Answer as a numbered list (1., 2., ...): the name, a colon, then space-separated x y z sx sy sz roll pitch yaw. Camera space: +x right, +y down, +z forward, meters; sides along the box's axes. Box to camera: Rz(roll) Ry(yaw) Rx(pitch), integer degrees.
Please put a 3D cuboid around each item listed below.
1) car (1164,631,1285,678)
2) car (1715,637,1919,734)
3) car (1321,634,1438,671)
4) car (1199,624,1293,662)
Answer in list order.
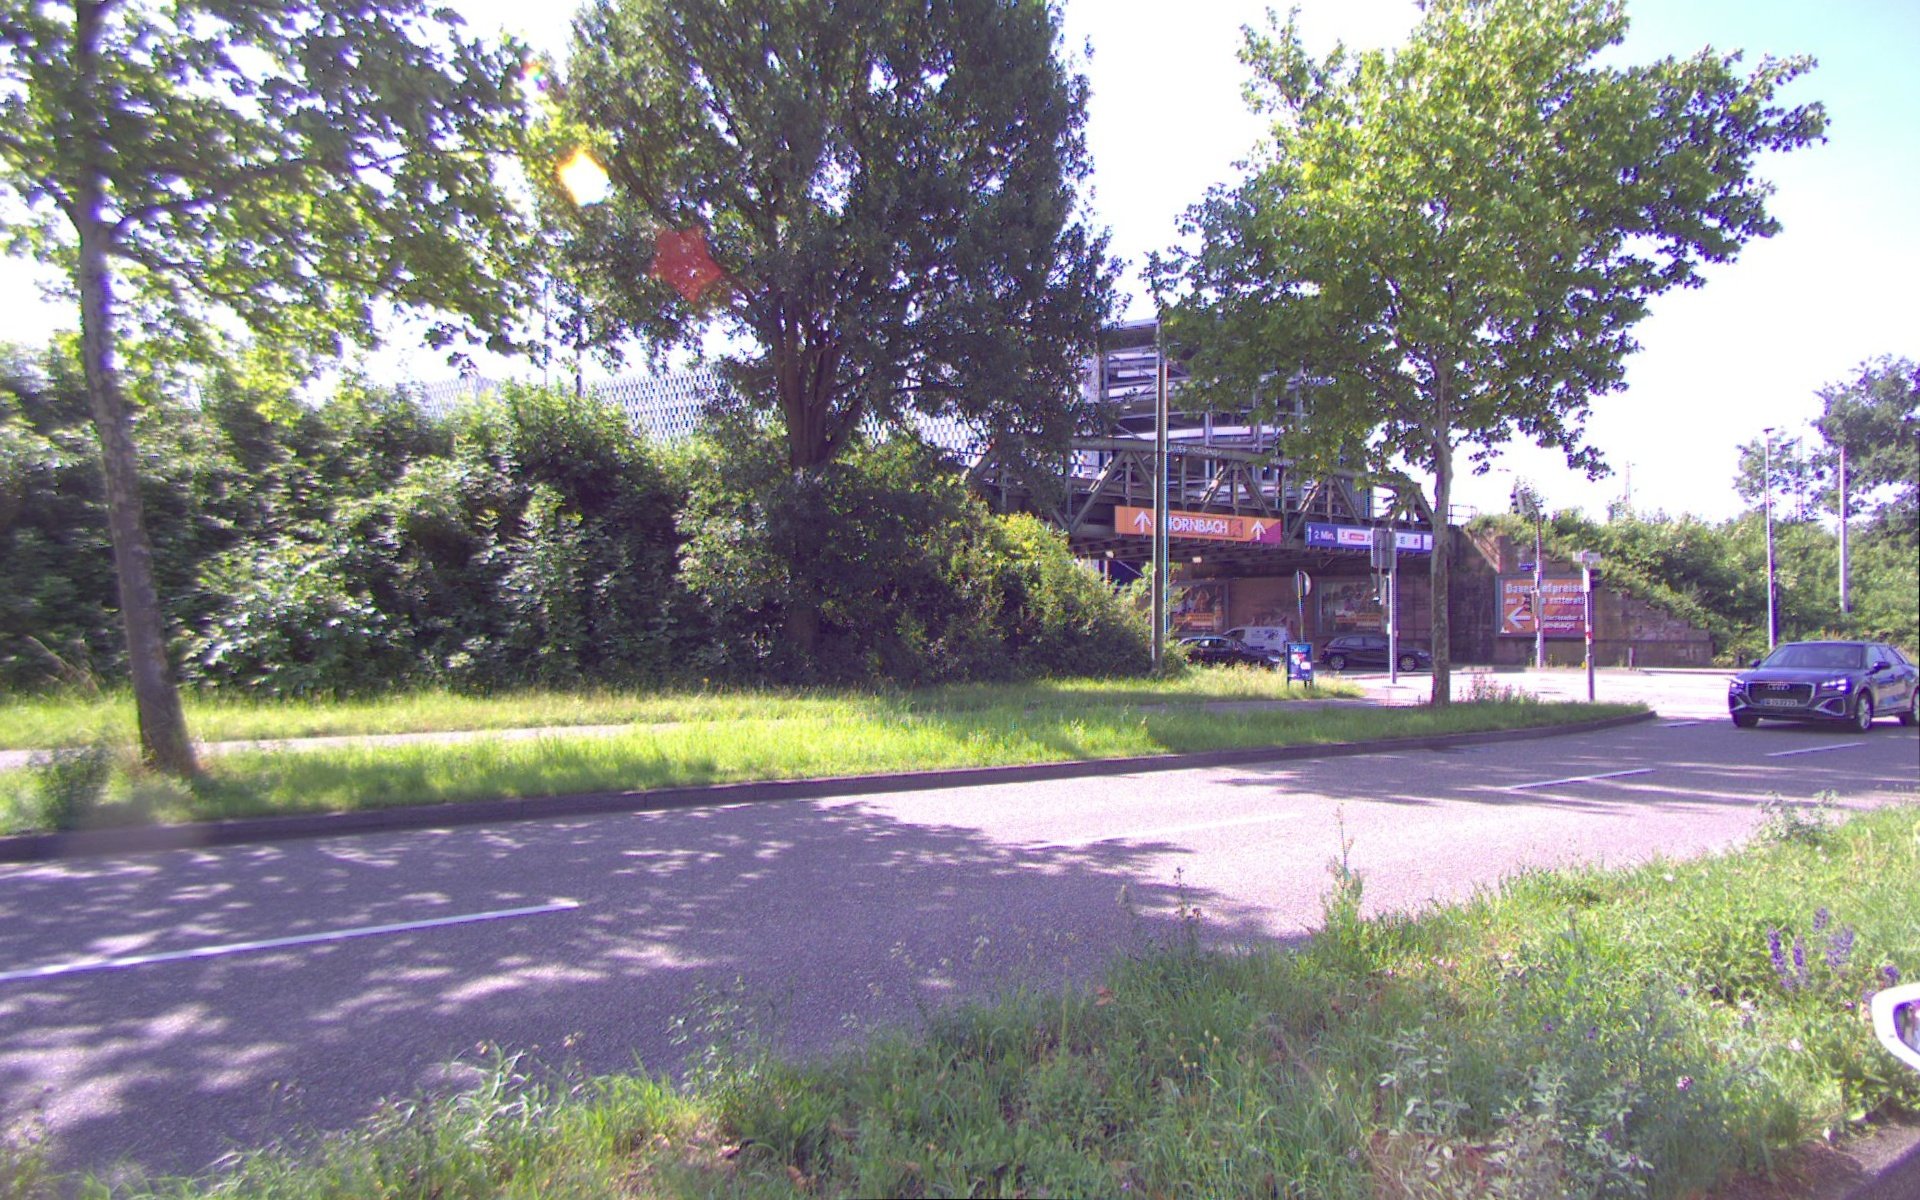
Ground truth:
1. car: 9.355 1.899 35.478 3.869 1.500 1.822 1 -1 25
2. car: 15.163 1.429 17.653 3.898 1.486 1.852 1 -3 -35
3. car: 16.831 2.078 40.377 4.253 1.413 1.770 -1 -2 24
4. car: 13.514 2.007 47.468 4.018 1.670 1.770 0 -1 24
